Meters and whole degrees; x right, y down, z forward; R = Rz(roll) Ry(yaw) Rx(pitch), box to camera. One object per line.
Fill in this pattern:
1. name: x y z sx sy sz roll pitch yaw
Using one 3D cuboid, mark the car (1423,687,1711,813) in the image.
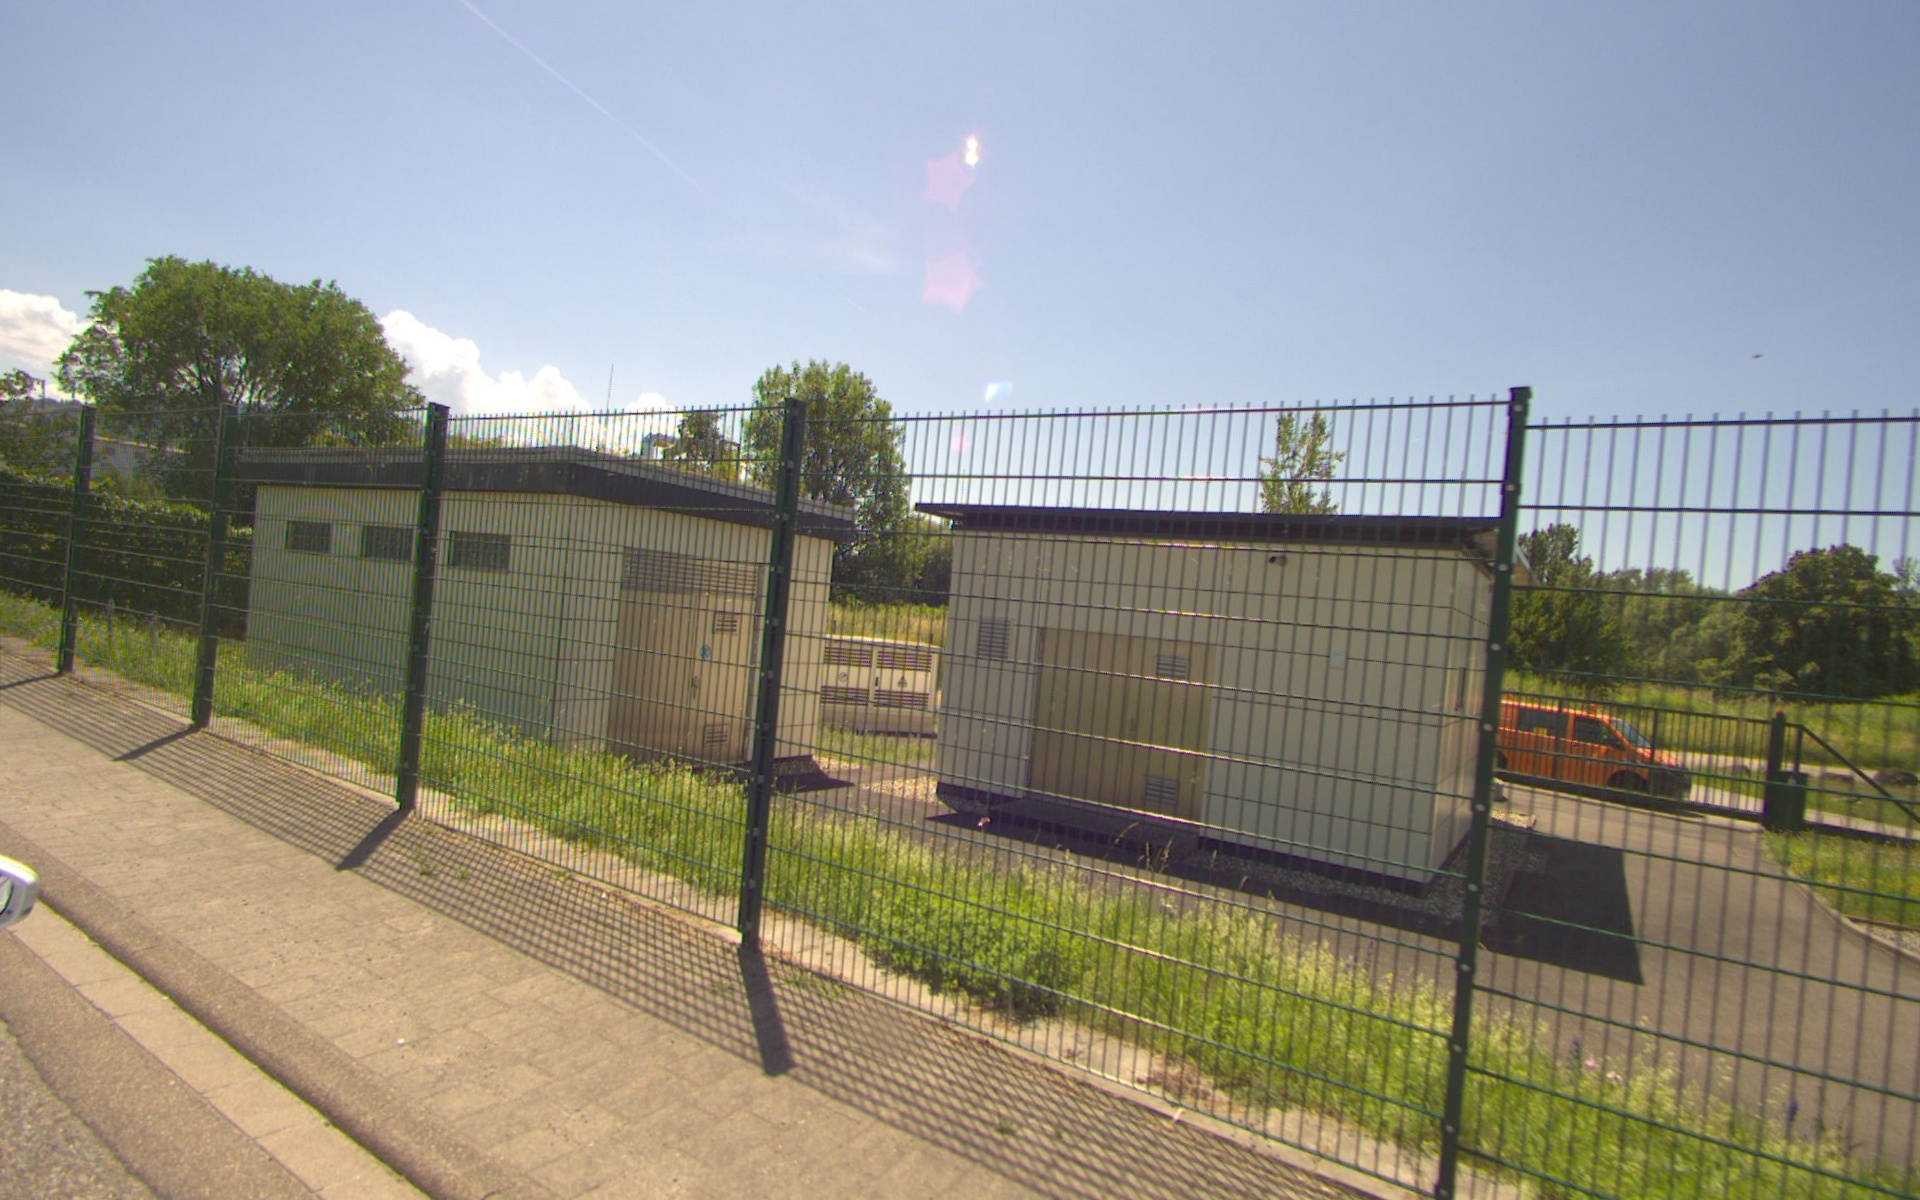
1. car: 14.578 3.547 24.536 1.984 2.037 5.518 8 -2 -38
